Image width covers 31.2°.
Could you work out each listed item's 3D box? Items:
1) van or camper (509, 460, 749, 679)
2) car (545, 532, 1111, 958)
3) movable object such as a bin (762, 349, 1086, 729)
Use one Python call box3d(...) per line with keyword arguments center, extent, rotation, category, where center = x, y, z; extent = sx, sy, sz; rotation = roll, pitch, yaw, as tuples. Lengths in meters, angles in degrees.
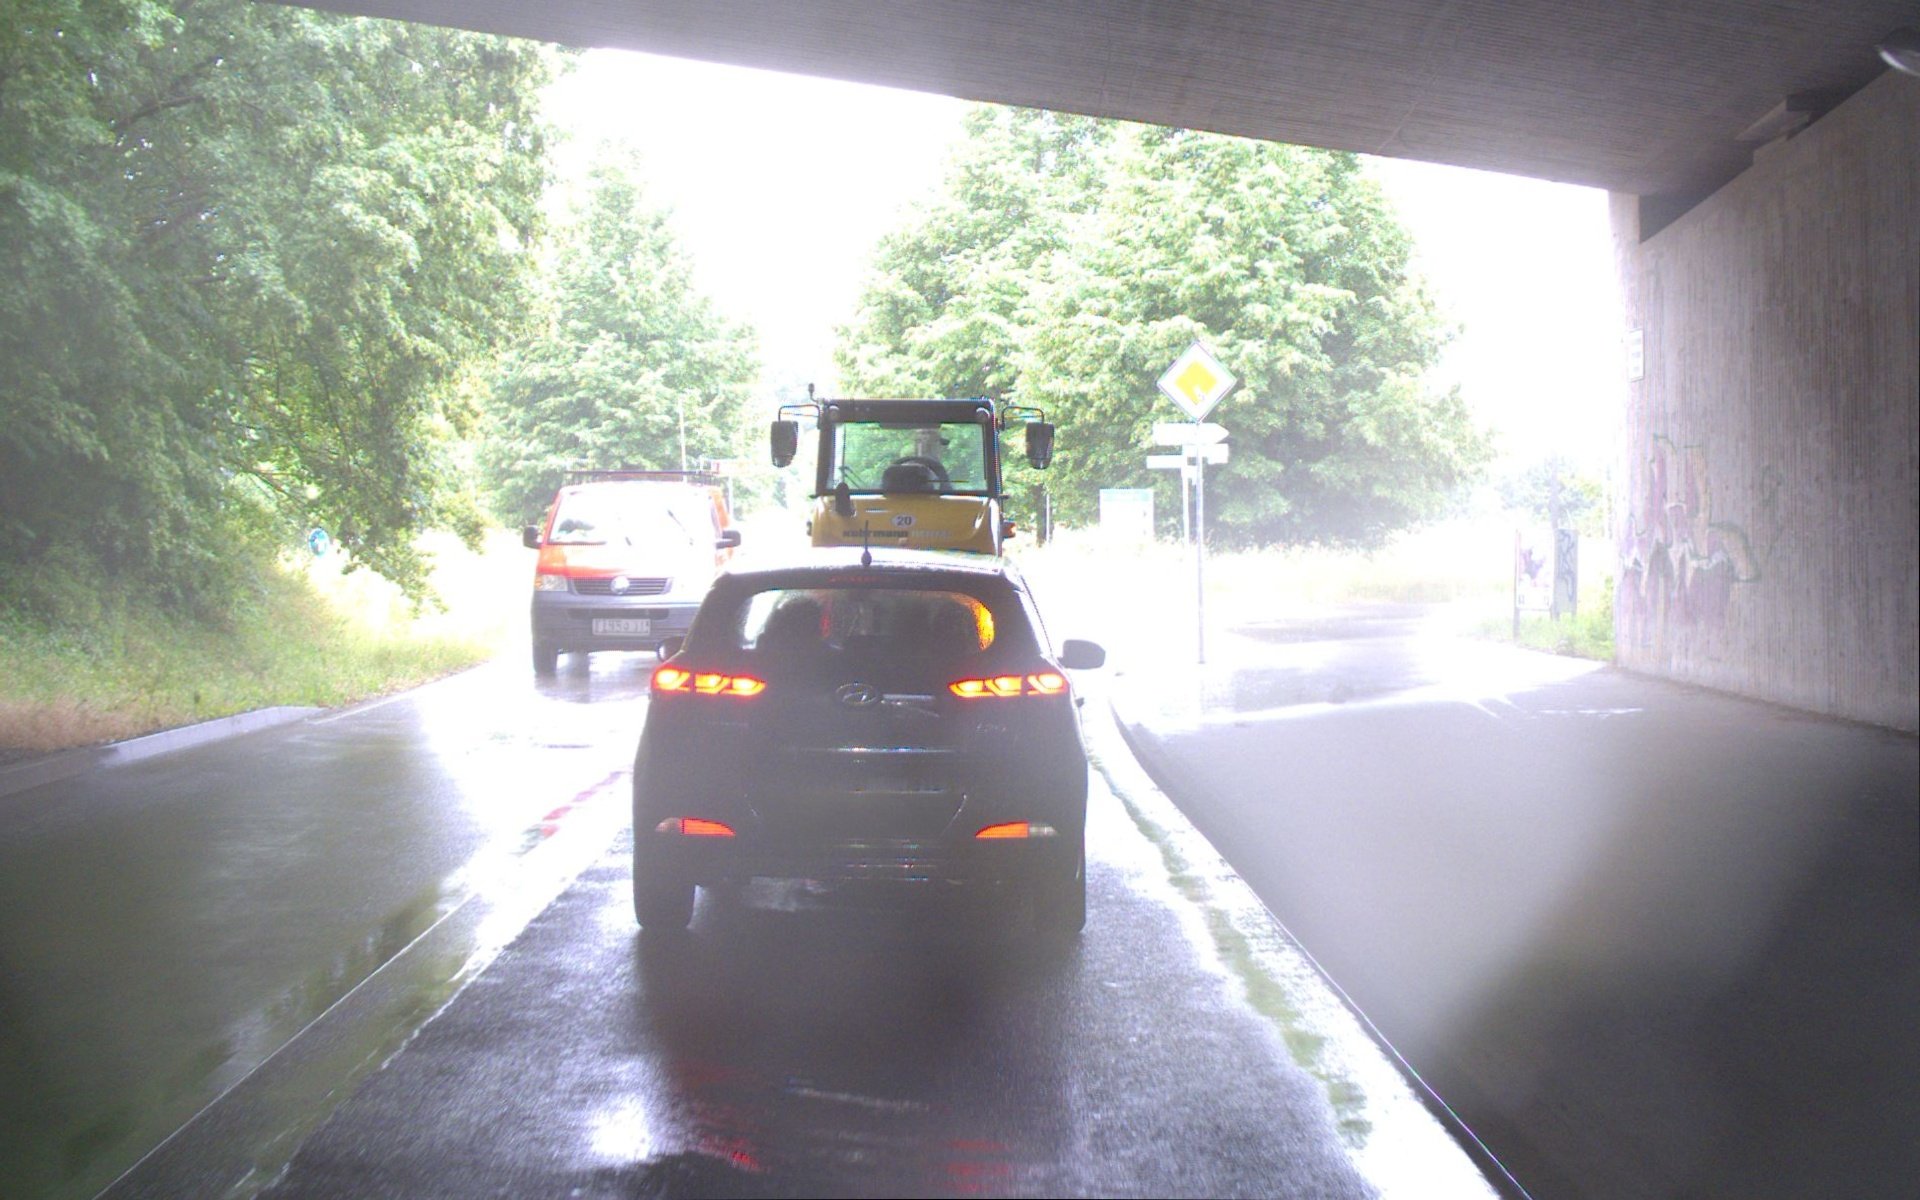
box3d(center=(-3.373, -0.344, 35.840), extent=(1.993, 2.091, 4.692), rotation=(1, 1, 0), category="van or camper")
box3d(center=(-0.604, 0.483, 14.305), extent=(1.993, 1.482, 4.001), rotation=(1, 1, -4), category="car")
box3d(center=(-0.351, -0.501, 27.830), extent=(2.245, 2.660, 6.627), rotation=(1, 1, -2), category="movable object such as a bin")
